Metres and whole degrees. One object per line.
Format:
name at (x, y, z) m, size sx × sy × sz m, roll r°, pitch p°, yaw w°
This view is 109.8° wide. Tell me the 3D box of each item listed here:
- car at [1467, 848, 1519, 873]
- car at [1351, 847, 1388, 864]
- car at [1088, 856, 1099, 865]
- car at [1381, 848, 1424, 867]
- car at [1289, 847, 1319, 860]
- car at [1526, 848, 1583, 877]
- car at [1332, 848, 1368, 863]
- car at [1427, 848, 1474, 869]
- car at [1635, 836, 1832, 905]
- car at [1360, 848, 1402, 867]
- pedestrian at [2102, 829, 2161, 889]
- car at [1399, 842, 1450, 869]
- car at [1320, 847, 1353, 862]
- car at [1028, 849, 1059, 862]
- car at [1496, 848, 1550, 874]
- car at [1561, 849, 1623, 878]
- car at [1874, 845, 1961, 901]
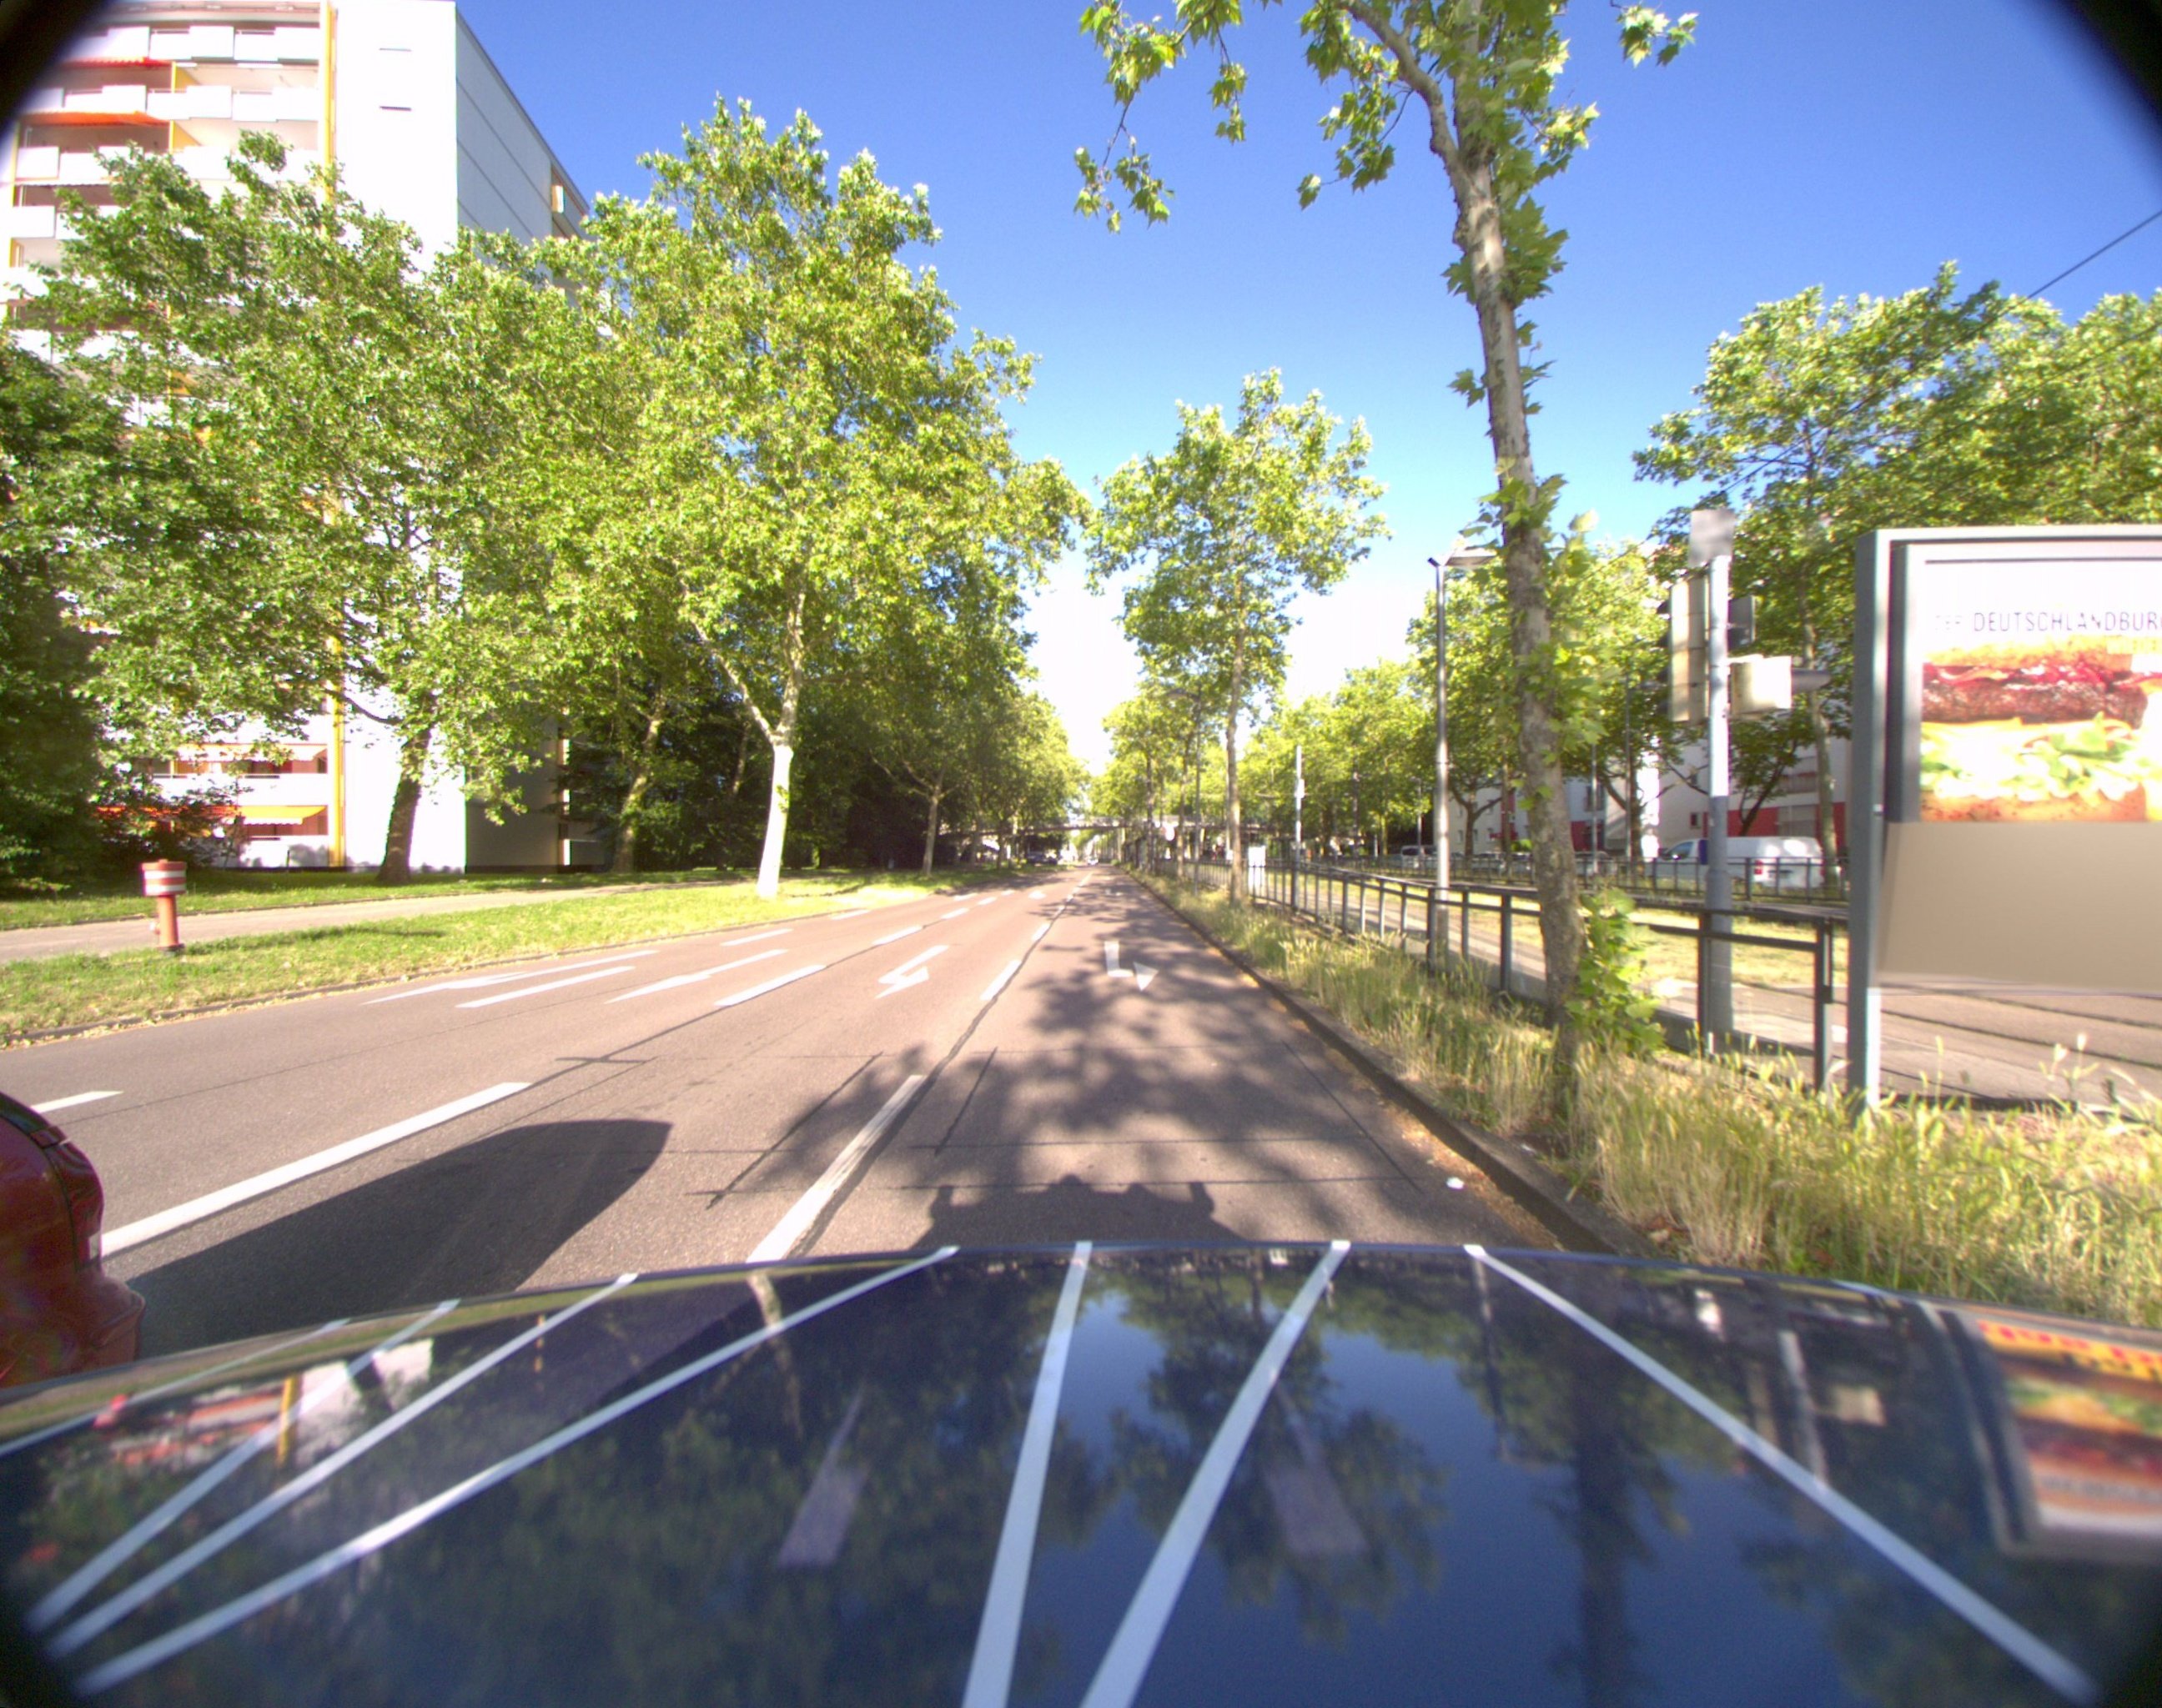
car at (25.859, 0.400, 47.667) m, size 3.811 × 1.433 × 1.652 m, roll -2°, pitch 0°, yaw -42°
car at (26.627, 0.138, 70.122) m, size 3.811 × 1.433 × 1.652 m, roll -2°, pitch 0°, yaw -42°
car at (2.013, 1.101, 123.871) m, size 1.580 × 1.395 × 3.638 m, roll -2°, pitch 0°, yaw 0°
car at (25.738, 0.272, 60.741) m, size 3.811 × 1.433 × 1.652 m, roll -2°, pitch 0°, yaw -42°
car at (26.448, -0.044, 89.963) m, size 3.811 × 1.433 × 1.652 m, roll -2°, pitch 0°, yaw -42°
car at (25.871, 0.445, 41.468) m, size 3.811 × 1.433 × 1.652 m, roll -2°, pitch 0°, yaw -42°
car at (26.074, 0.137, 73.554) m, size 3.811 × 1.433 × 1.652 m, roll -2°, pitch 0°, yaw -42°
car at (26.310, 0.313, 54.021) m, size 3.811 × 1.433 × 1.652 m, roll -2°, pitch 0°, yaw -42°
car at (19.370, 0.430, 22.939) m, size 1.831 × 1.811 × 4.903 m, roll -2°, pitch 0°, yaw 2°
car at (24.952, 0.275, 63.198) m, size 3.811 × 1.433 × 1.652 m, roll -2°, pitch 0°, yaw -42°
pedestrian at (31.106, 0.137, 22.460) m, size 0.764 × 1.723 × 0.786 m, roll -2°, pitch 1°, yaw -1°
car at (25.826, 0.092, 57.019) m, size 4.330 × 1.863 × 1.836 m, roll -2°, pitch 0°, yaw -42°
car at (26.795, 0.049, 79.614) m, size 3.811 × 1.433 × 1.652 m, roll -2°, pitch 0°, yaw -42°
car at (-5.901, 0.172, 119.070) m, size 4.718 × 1.924 × 1.907 m, roll -2°, pitch 0°, yaw -3°
car at (26.106, 0.409, 44.853) m, size 3.811 × 1.433 × 1.652 m, roll -2°, pitch 0°, yaw -42°
car at (25.390, 0.450, 37.687) m, size 3.811 × 1.348 × 1.652 m, roll -2°, pitch 0°, yaw -42°
car at (25.251, 0.526, 22.955) m, size 3.811 × 1.501 × 1.652 m, roll -2°, pitch 0°, yaw -42°
